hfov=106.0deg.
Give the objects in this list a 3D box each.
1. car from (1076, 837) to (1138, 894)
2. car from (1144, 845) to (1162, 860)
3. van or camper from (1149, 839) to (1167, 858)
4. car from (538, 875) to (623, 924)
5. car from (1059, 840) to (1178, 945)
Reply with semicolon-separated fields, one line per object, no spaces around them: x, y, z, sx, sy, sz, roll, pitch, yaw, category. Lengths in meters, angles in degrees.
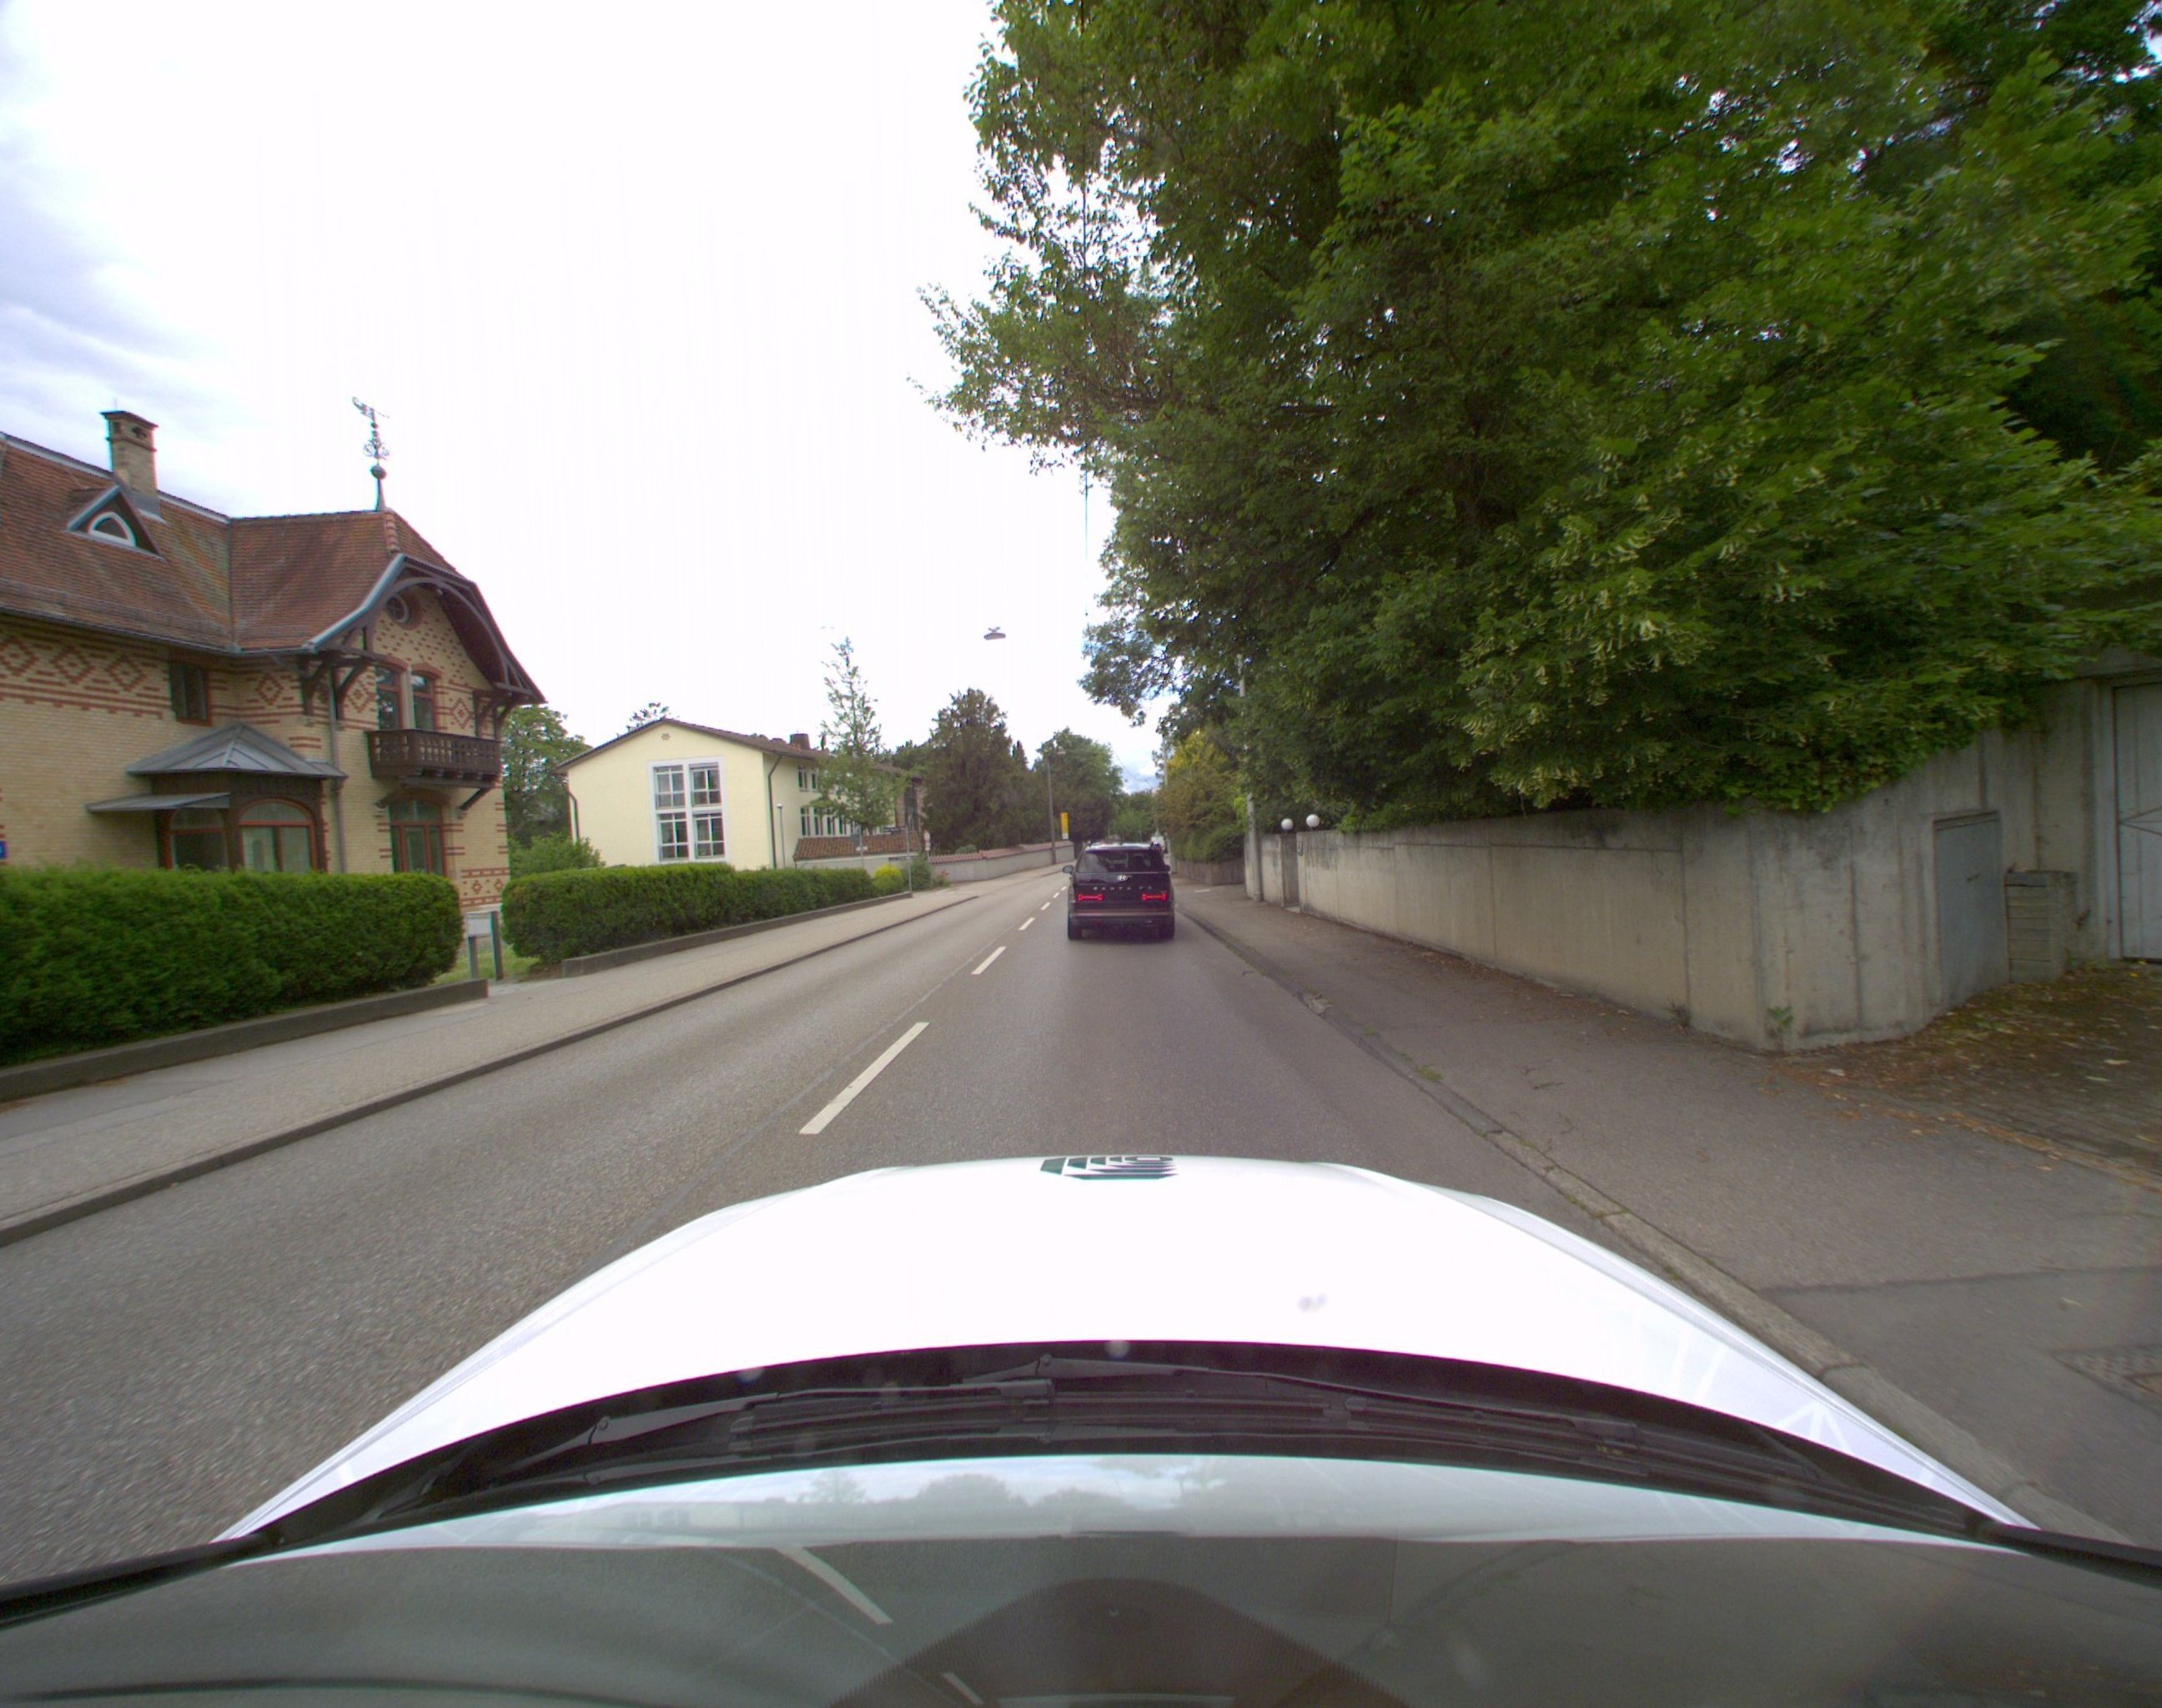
1.073;0.365;30.994;1.946;1.955;4.232;-1;2;7;car
7.217;-0.154;81.614;1.667;1.422;3.944;-3;0;6;car
9.098;-0.706;95.659;1.665;2.007;3.949;-4;2;9;van or camper
-18.640;1.654;30.496;1.687;1.595;3.489;-2;0;-15;car
0.685;0.624;15.586;1.950;1.713;4.225;-1;0;2;car
